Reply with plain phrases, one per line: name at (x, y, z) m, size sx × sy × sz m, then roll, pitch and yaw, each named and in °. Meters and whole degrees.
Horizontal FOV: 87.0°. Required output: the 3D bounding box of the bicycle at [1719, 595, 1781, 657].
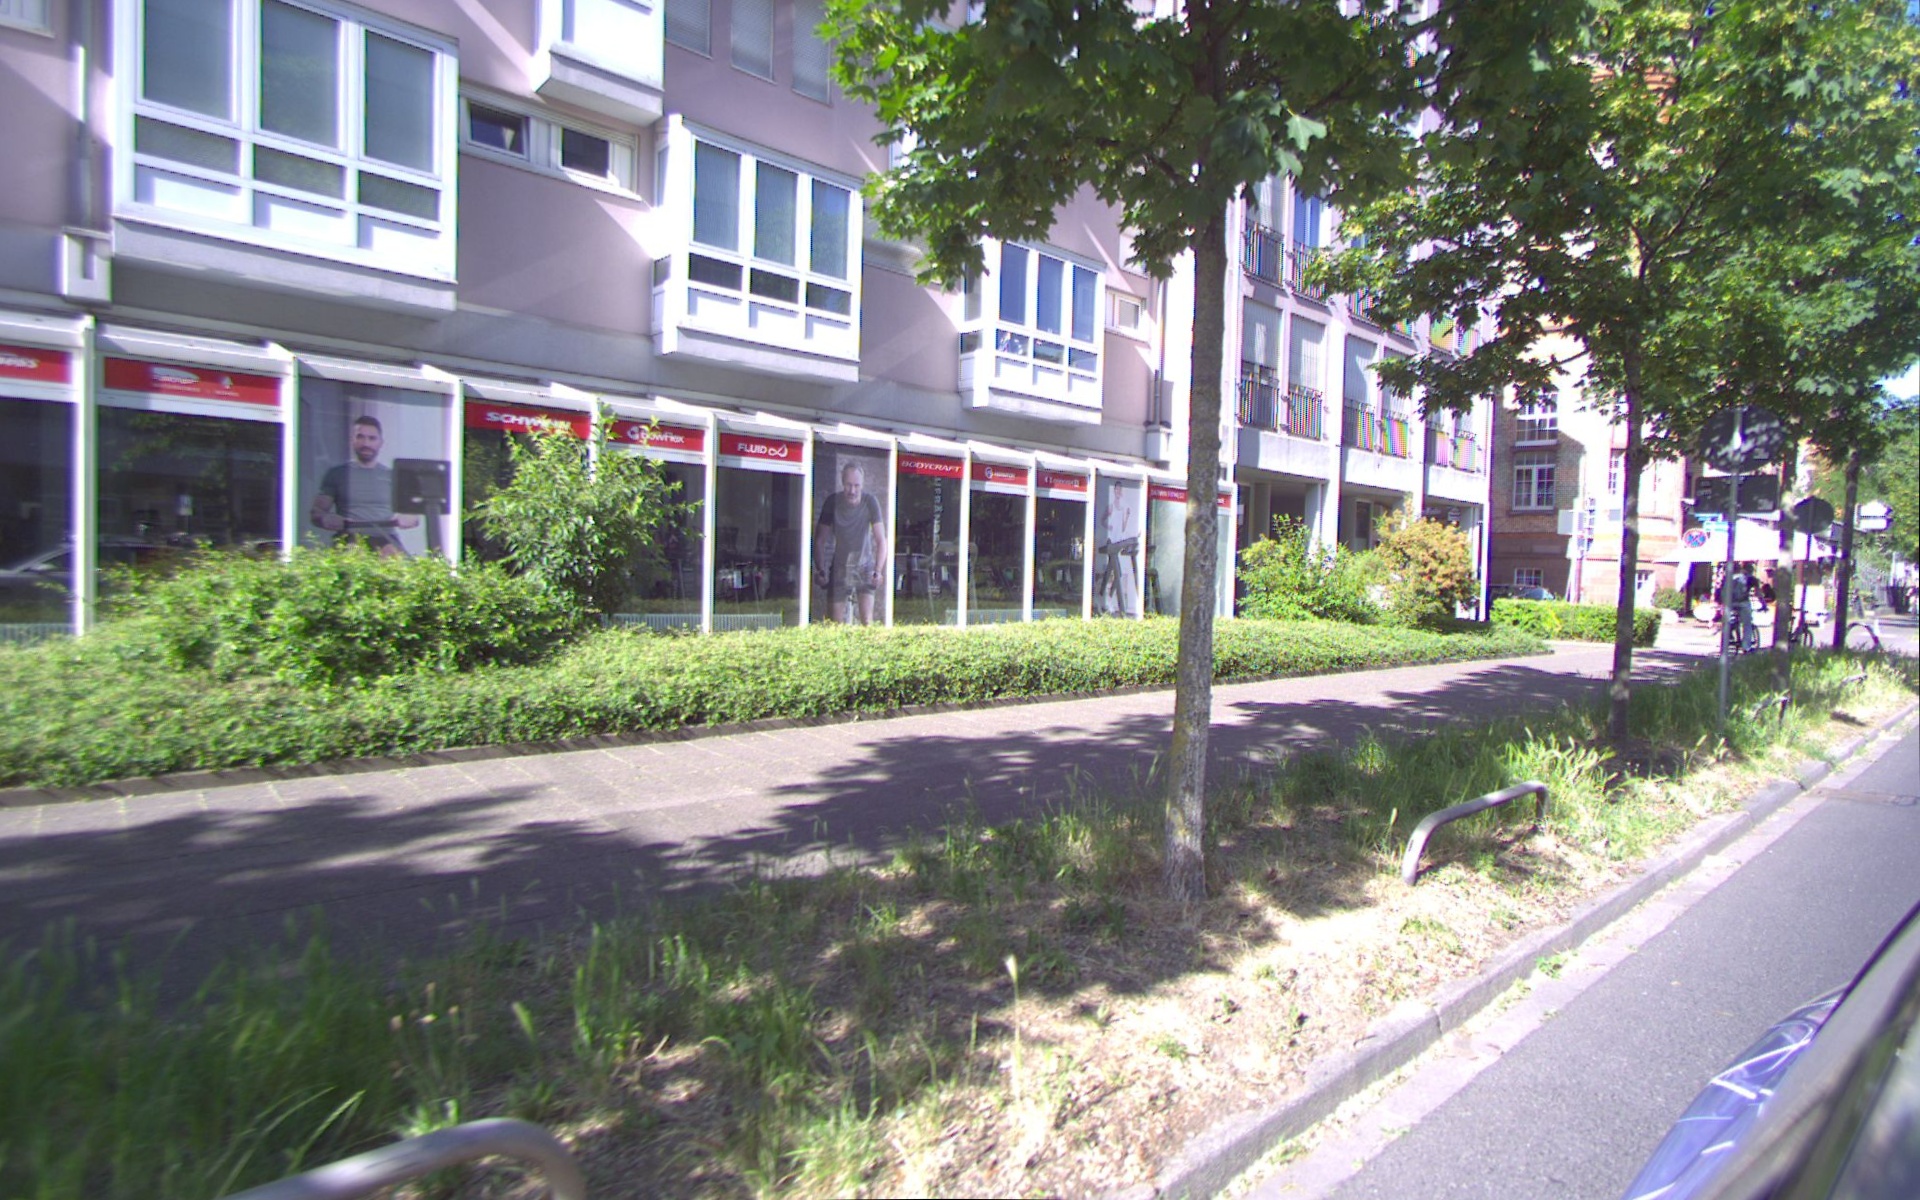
bicycle at (14.518, 0.447, 18.588) m, size 1.829 × 1.040 × 0.590 m, roll -2°, pitch 3°, yaw -43°

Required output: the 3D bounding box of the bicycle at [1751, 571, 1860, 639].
bicycle at (14.209, 0.083, 17.004) m, size 1.980 × 1.079 × 0.593 m, roll 0°, pitch 2°, yaw -25°

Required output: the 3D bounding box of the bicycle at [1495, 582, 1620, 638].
bicycle at (12.947, 0.208, 21.996) m, size 0.675 × 1.040 × 2.202 m, roll 3°, pitch 2°, yaw -39°

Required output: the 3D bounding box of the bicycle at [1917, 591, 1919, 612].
bicycle at (44.973, -0.014, 46.847) m, size 1.810 × 1.190 × 0.654 m, roll 0°, pitch 5°, yaw -40°

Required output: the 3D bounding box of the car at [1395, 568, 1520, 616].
car at (18.374, -0.343, 37.564) m, size 1.758 × 1.541 × 3.965 m, roll -3°, pitch 4°, yaw -25°

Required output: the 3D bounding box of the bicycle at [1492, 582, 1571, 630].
bicycle at (13.739, 0.144, 24.322) m, size 2.160 × 1.040 × 0.688 m, roll 3°, pitch 2°, yaw -33°

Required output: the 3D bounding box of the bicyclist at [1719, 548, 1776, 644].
bicyclist at (14.475, -0.082, 18.606) m, size 0.874 × 1.716 × 0.668 m, roll -1°, pitch 2°, yaw -42°

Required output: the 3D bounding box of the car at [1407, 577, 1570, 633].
car at (15.631, 0.088, 30.130) m, size 1.824 × 1.542 × 3.963 m, roll -1°, pitch 2°, yaw -28°
